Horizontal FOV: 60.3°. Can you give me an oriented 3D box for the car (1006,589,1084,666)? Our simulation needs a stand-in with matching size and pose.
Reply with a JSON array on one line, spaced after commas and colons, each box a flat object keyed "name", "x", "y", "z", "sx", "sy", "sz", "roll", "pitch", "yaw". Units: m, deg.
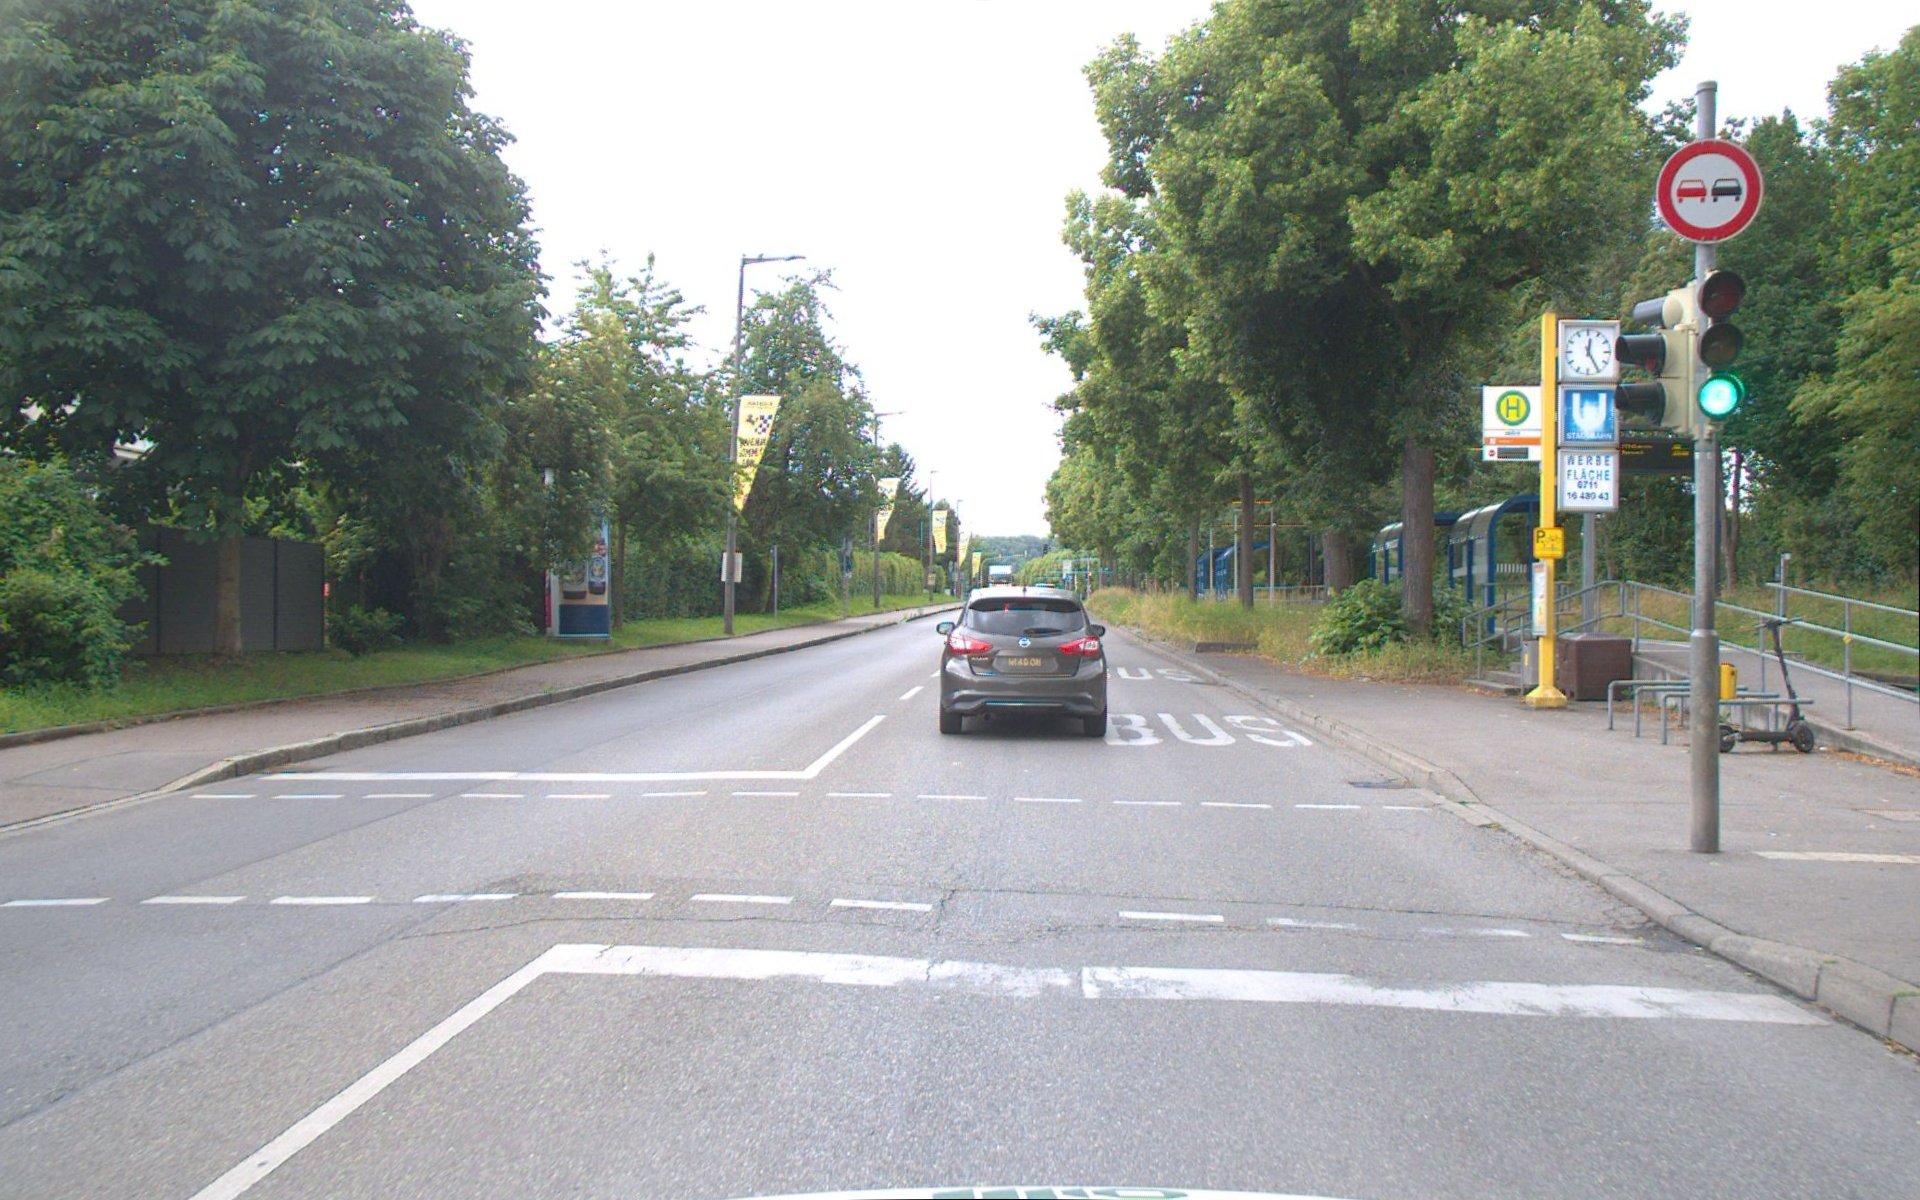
[{"name": "car", "x": 1.721, "y": 0.537, "z": 33.665, "sx": 1.470, "sy": 1.466, "sz": 3.543, "roll": 1, "pitch": 0, "yaw": 3}]

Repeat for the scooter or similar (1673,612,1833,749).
[{"name": "scooter or similar", "x": 7.568, "y": 0.764, "z": 15.782, "sx": 1.431, "sy": 1.264, "sz": 0.482, "roll": 1, "pitch": 0, "yaw": -19}]

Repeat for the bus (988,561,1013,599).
[{"name": "bus", "x": 4.498, "y": -2.165, "z": 181.783, "sx": 2.435, "sy": 4.096, "sz": 10.221, "roll": 0, "pitch": 0, "yaw": 3}]

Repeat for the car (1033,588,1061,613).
[{"name": "car", "x": 5.147, "y": 0.041, "z": 98.063, "sx": 1.656, "sy": 1.466, "sz": 3.543, "roll": 1, "pitch": 0, "yaw": 3}]

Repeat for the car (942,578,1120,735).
[{"name": "car", "x": 0.800, "y": 0.574, "z": 18.211, "sx": 1.746, "sy": 1.533, "sz": 3.697, "roll": 0, "pitch": 0, "yaw": 3}]

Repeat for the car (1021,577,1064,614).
[{"name": "car", "x": 3.317, "y": -0.172, "z": 66.857, "sx": 1.656, "sy": 1.466, "sz": 3.543, "roll": 1, "pitch": 0, "yaw": 3}]
